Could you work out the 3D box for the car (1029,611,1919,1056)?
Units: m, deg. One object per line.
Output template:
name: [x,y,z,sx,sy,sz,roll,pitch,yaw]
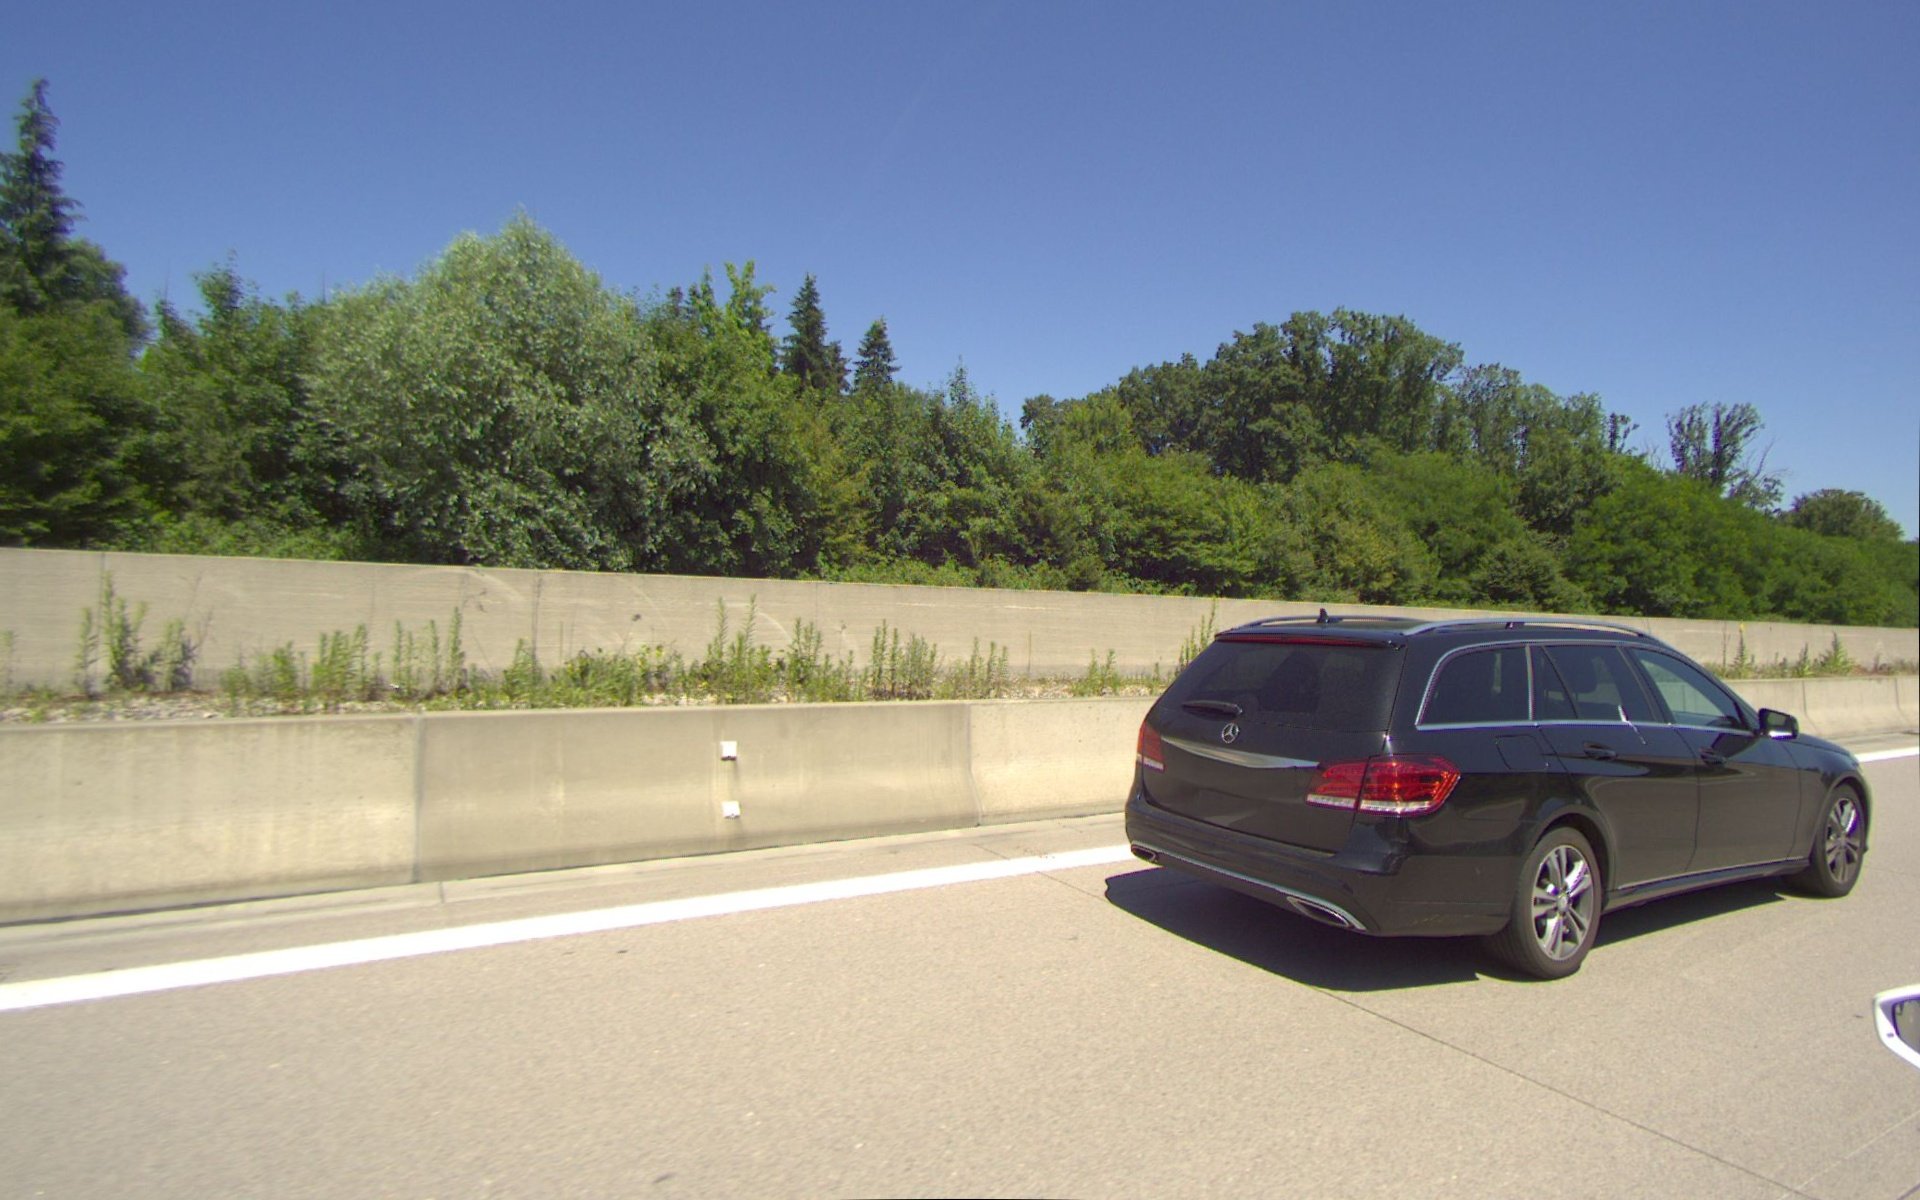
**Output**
car: [3.204,0.860,5.626,5.537,1.493,1.882,1,-1,-30]
